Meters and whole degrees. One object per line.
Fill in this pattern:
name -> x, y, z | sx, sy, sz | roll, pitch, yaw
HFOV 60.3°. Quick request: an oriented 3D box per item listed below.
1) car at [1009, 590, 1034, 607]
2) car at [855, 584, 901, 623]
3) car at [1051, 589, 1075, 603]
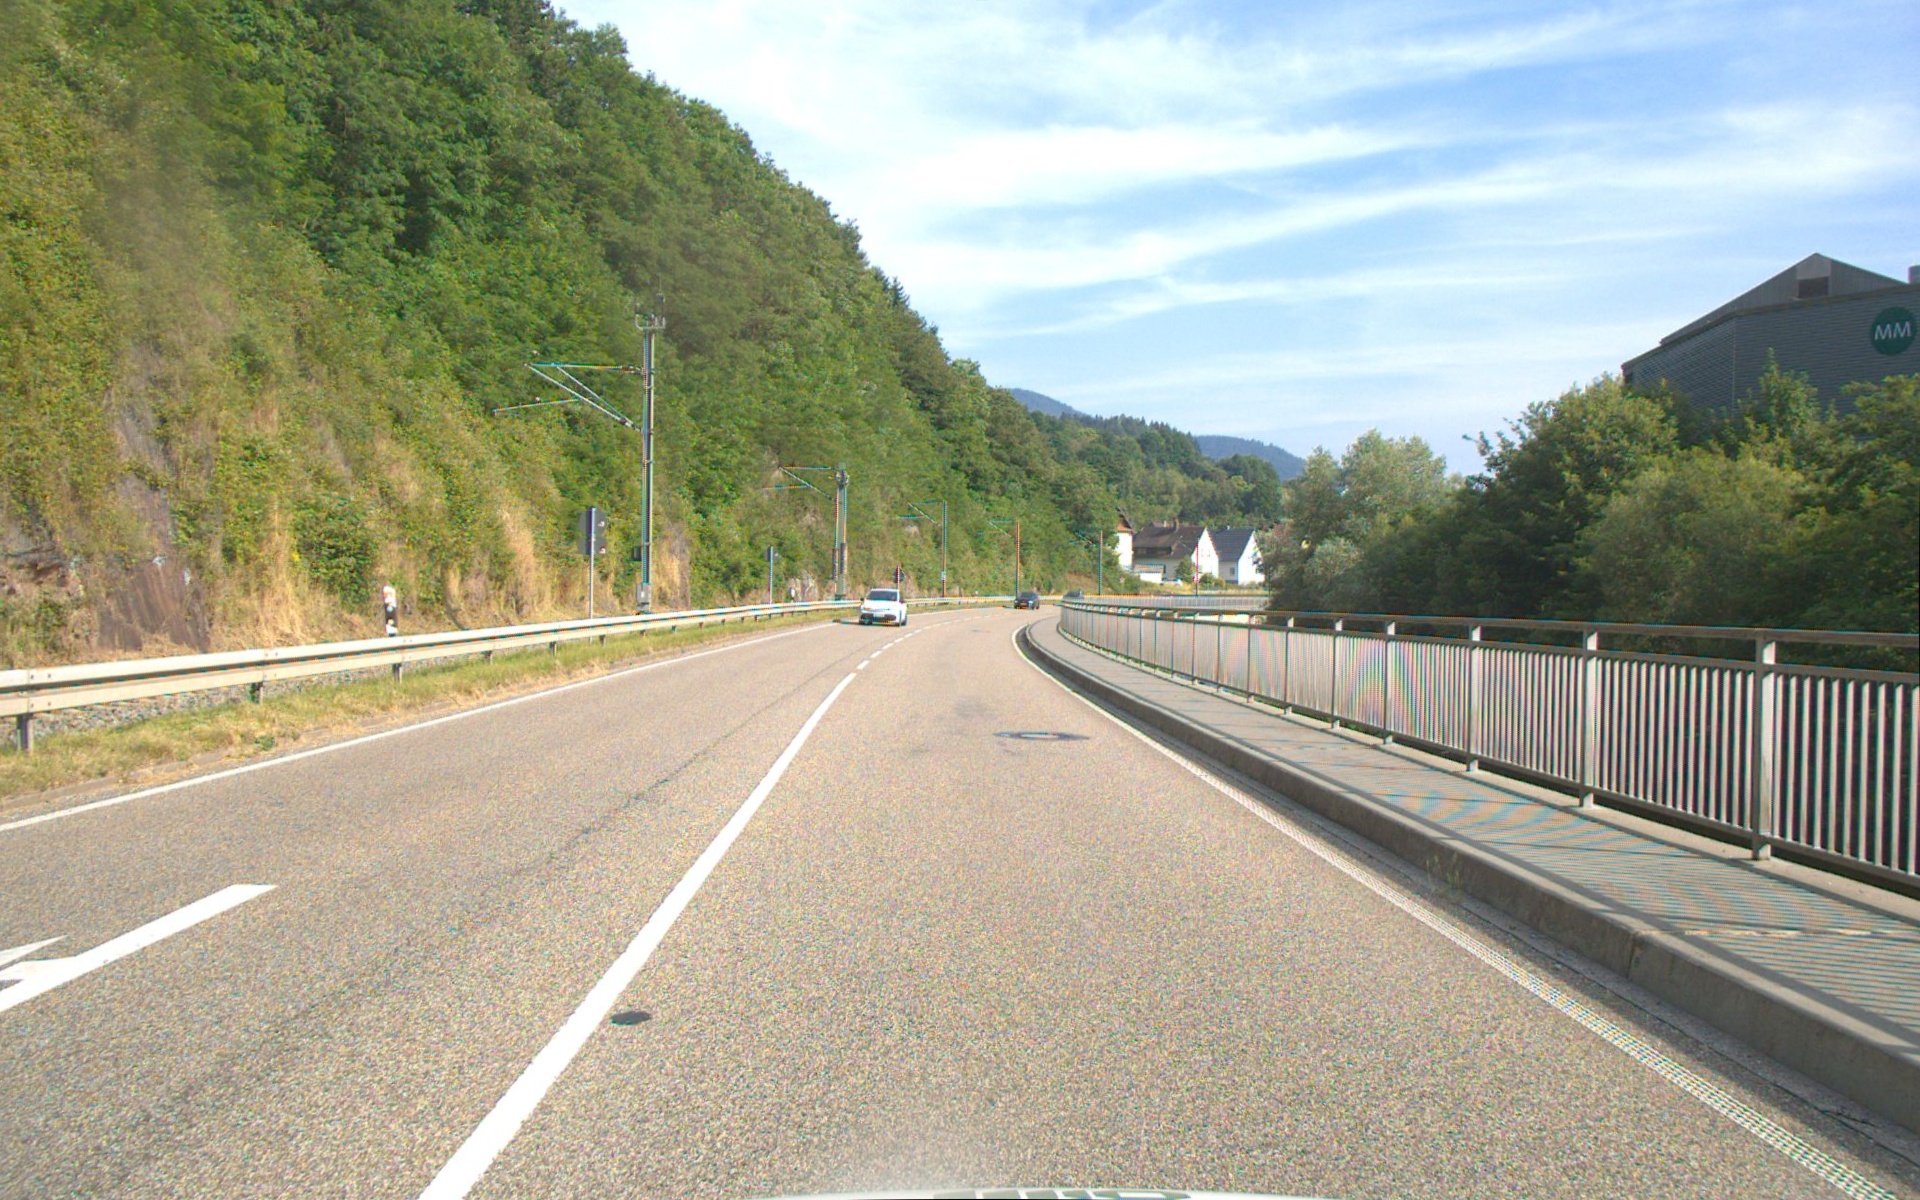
car -> 5.312, -0.158, 142.766 | 1.808, 1.465, 3.900 | 0, 0, 7
car -> -3.495, 0.118, 70.943 | 1.809, 1.571, 4.603 | 1, 0, -1
car -> 10.354, -0.405, 165.749 | 1.808, 1.426, 4.480 | 1, 0, 12
